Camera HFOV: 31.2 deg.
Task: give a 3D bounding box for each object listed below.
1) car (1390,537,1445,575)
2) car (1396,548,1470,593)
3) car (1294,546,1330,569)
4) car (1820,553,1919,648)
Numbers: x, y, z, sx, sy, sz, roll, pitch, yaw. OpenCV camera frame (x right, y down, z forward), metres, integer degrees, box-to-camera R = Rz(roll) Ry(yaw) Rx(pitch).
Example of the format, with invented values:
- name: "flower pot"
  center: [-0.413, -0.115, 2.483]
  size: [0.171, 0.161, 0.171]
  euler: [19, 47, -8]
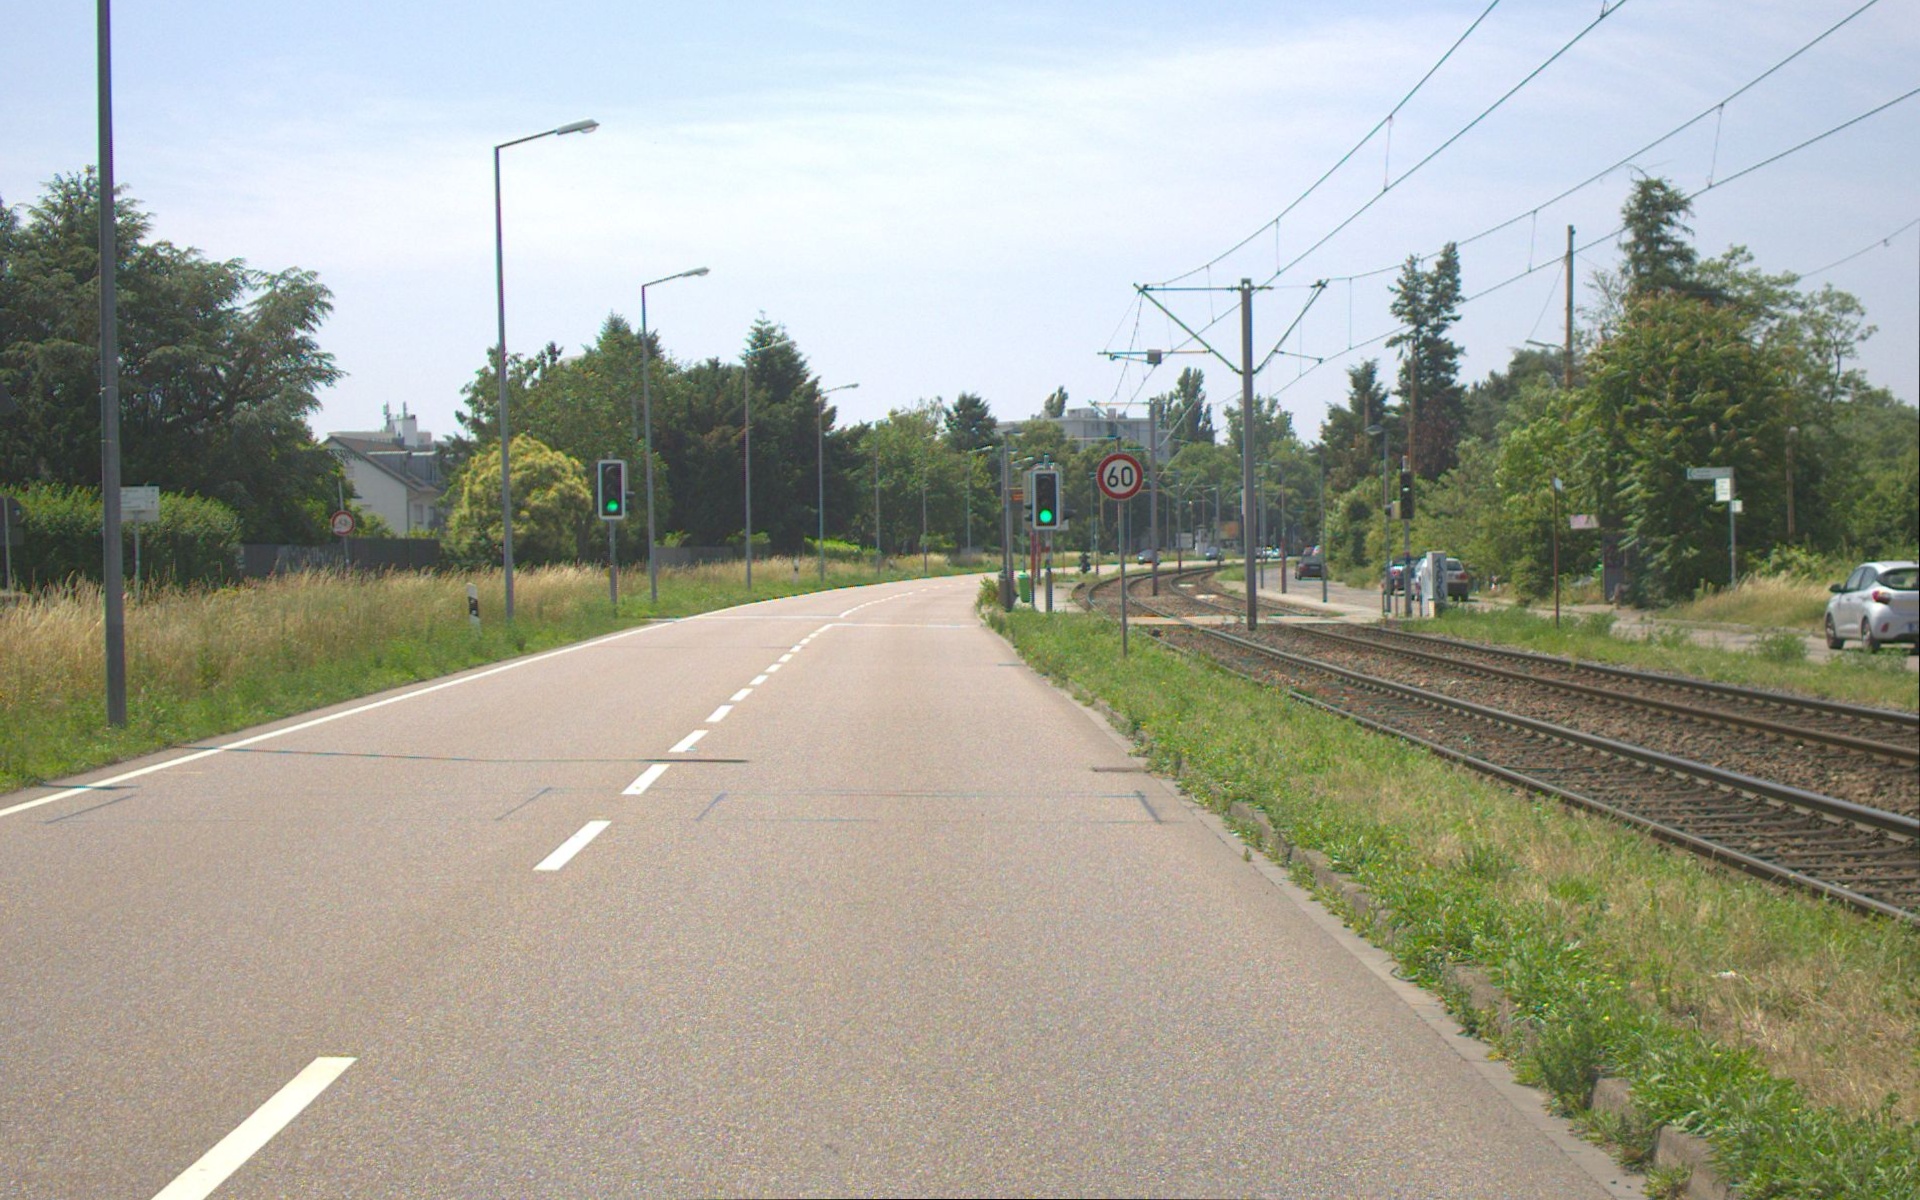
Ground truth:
- name: "car"
  center: [17.408, -1.679, 130.905]
  size: [1.620, 1.417, 4.873]
  euler: [0, 1, 2]
- name: "car"
  center: [15.350, -0.981, 111.793]
  size: [1.939, 1.417, 4.000]
  euler: [0, 1, 2]
- name: "car"
  center: [20.496, -2.480, 200.519]
  size: [1.861, 1.325, 4.515]
  euler: [0, 1, 3]
- name: "car"
  center: [15.374, -0.018, 56.051]
  size: [1.713, 1.483, 4.001]
  euler: [0, 1, 0]
